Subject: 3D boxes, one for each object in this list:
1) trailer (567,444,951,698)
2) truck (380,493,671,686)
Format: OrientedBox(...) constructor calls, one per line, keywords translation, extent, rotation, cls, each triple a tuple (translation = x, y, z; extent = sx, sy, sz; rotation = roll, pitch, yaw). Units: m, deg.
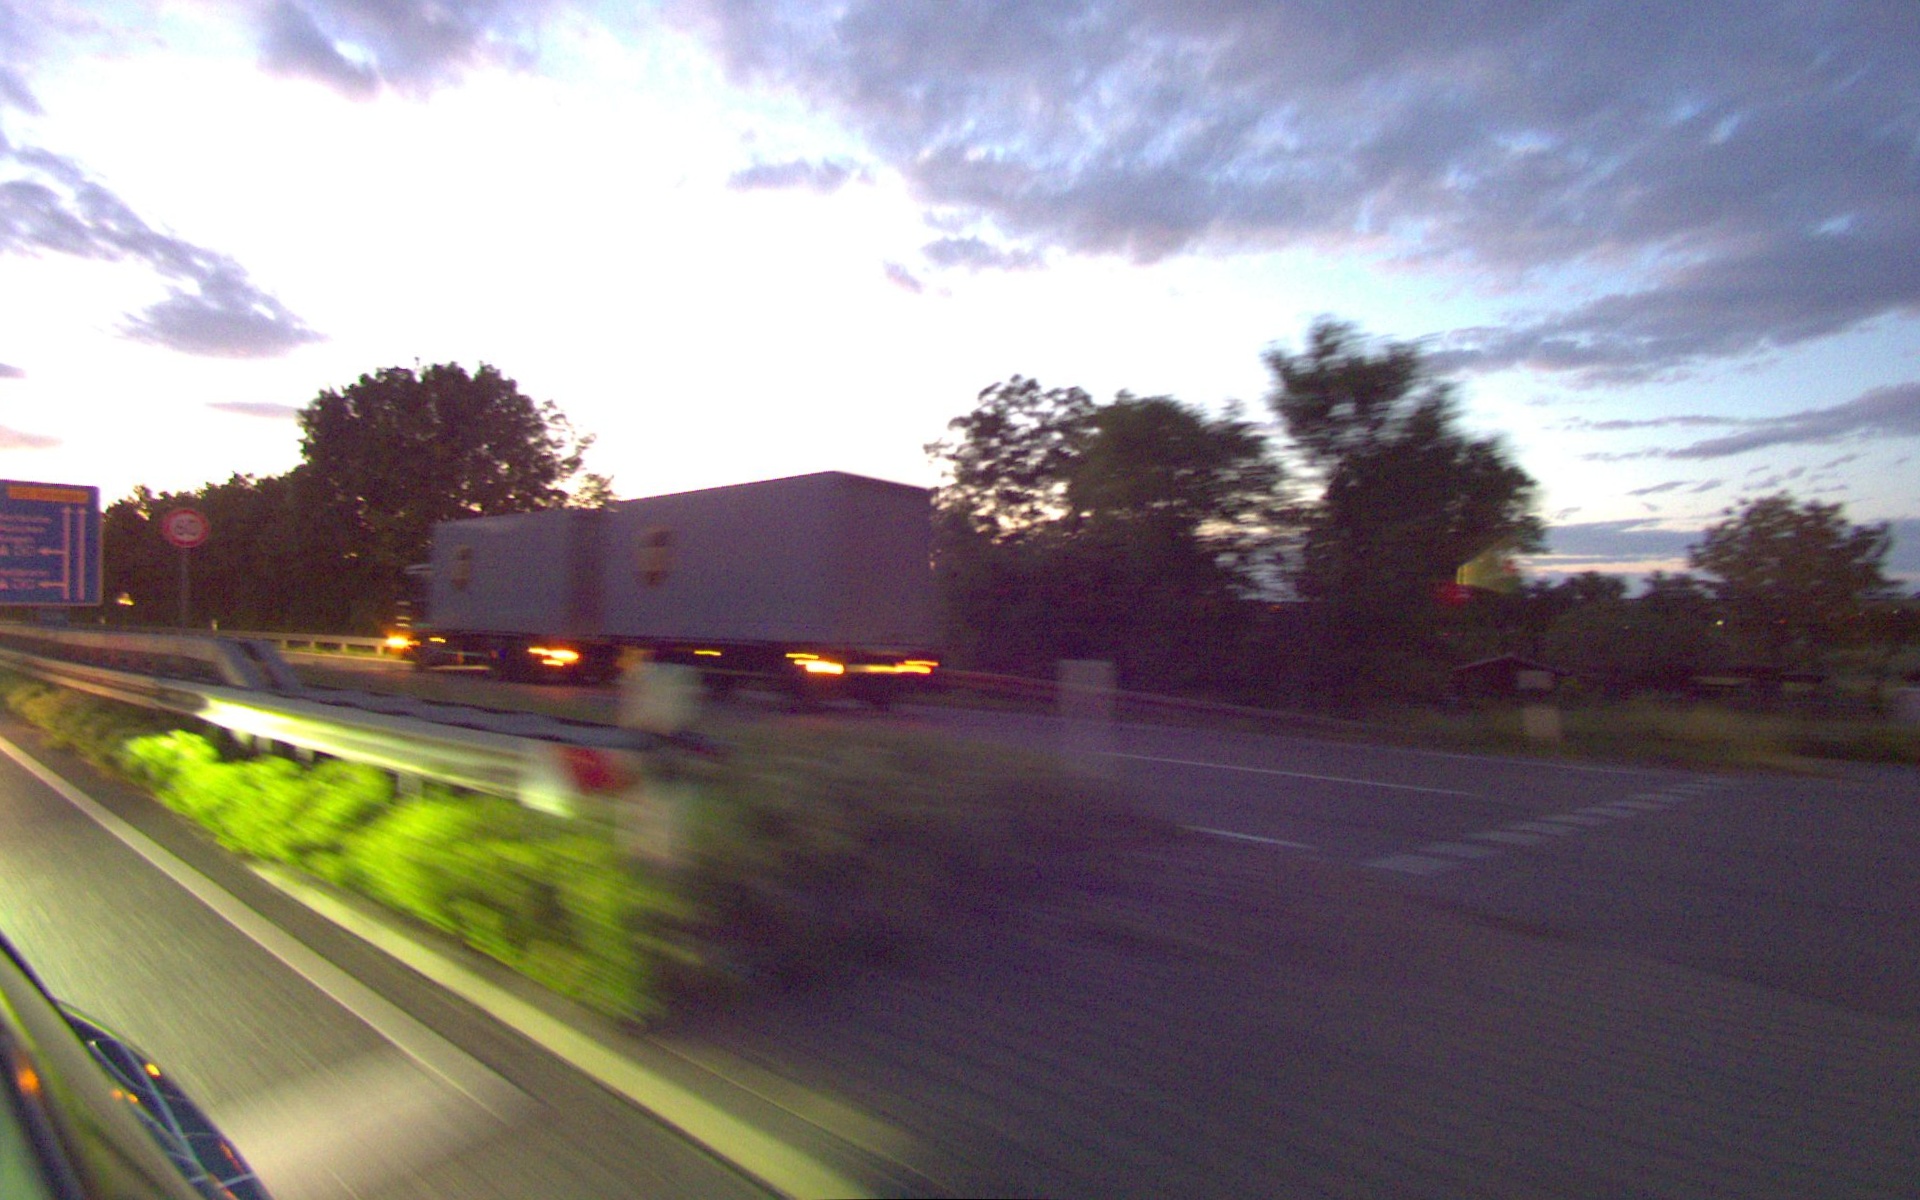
OrientedBox(translation=(-4.295, -0.364, 19.741), extent=(8.875, 3.973, 2.549), rotation=(-1, -2, 42), cls="trailer")
OrientedBox(translation=(-11.599, -0.196, 26.226), extent=(10.340, 4.148, 2.697), rotation=(0, -1, 41), cls="truck")
